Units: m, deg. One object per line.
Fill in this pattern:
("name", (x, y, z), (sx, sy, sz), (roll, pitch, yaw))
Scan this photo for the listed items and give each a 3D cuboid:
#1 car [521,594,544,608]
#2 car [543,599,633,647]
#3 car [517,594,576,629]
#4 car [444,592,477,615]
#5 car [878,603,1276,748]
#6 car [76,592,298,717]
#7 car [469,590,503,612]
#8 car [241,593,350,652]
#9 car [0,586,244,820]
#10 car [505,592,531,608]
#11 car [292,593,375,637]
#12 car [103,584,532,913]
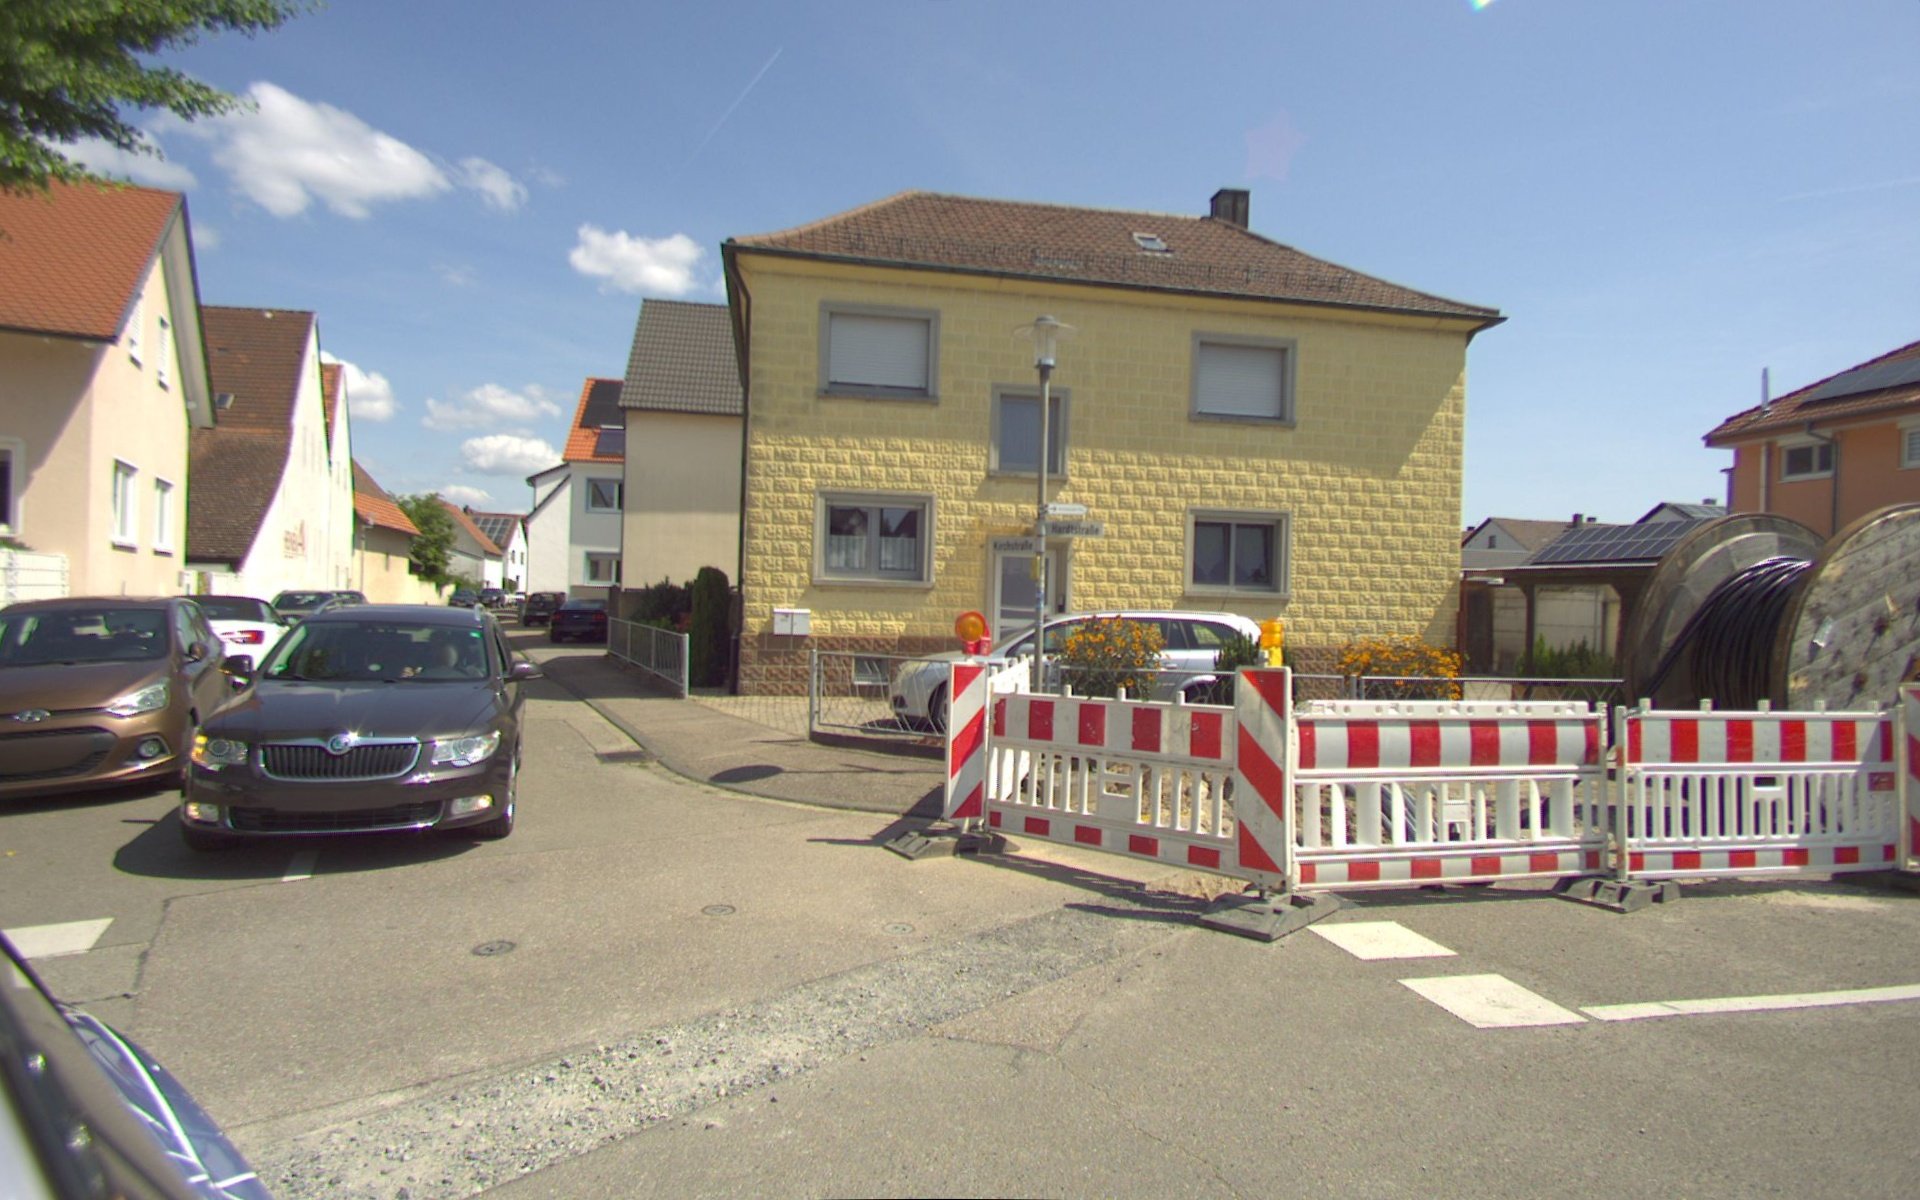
("car", (-46.639, 0.095, 110.465), (1.755, 1.512, 4.051), (-1, 1, -16))
("car", (-11.555, 0.662, 31.683), (1.747, 1.359, 4.478), (0, 1, -8))
("car", (-17.921, 0.493, 43.958), (1.616, 1.466, 3.795), (0, 0, -10))
("car", (-34.471, 0.224, 69.894), (1.755, 1.490, 4.013), (2, 0, -23))
("car", (1.312, 0.844, 12.231), (4.412, 1.496, 1.791), (2, 0, 2))
("car", (-10.750, 0.639, 14.434), (1.869, 1.439, 4.752), (1, 0, -30))
("car", (-36.769, 0.088, 78.598), (1.755, 1.621, 4.012), (-1, 1, -16))
("car", (-17.403, 0.539, 26.712), (1.869, 1.375, 4.753), (1, 0, -27))
("car", (-7.396, 0.679, 8.610), (1.688, 1.544, 4.048), (-2, 2, -30))
("car", (-42.866, -0.010, 98.247), (1.755, 1.512, 4.051), (-1, 1, -16))
("car", (-21.074, 0.477, 34.216), (1.869, 1.375, 4.429), (1, 0, -25))
("car", (-4.091, 0.724, 7.286), (1.755, 1.547, 4.725), (2, -1, -22))
